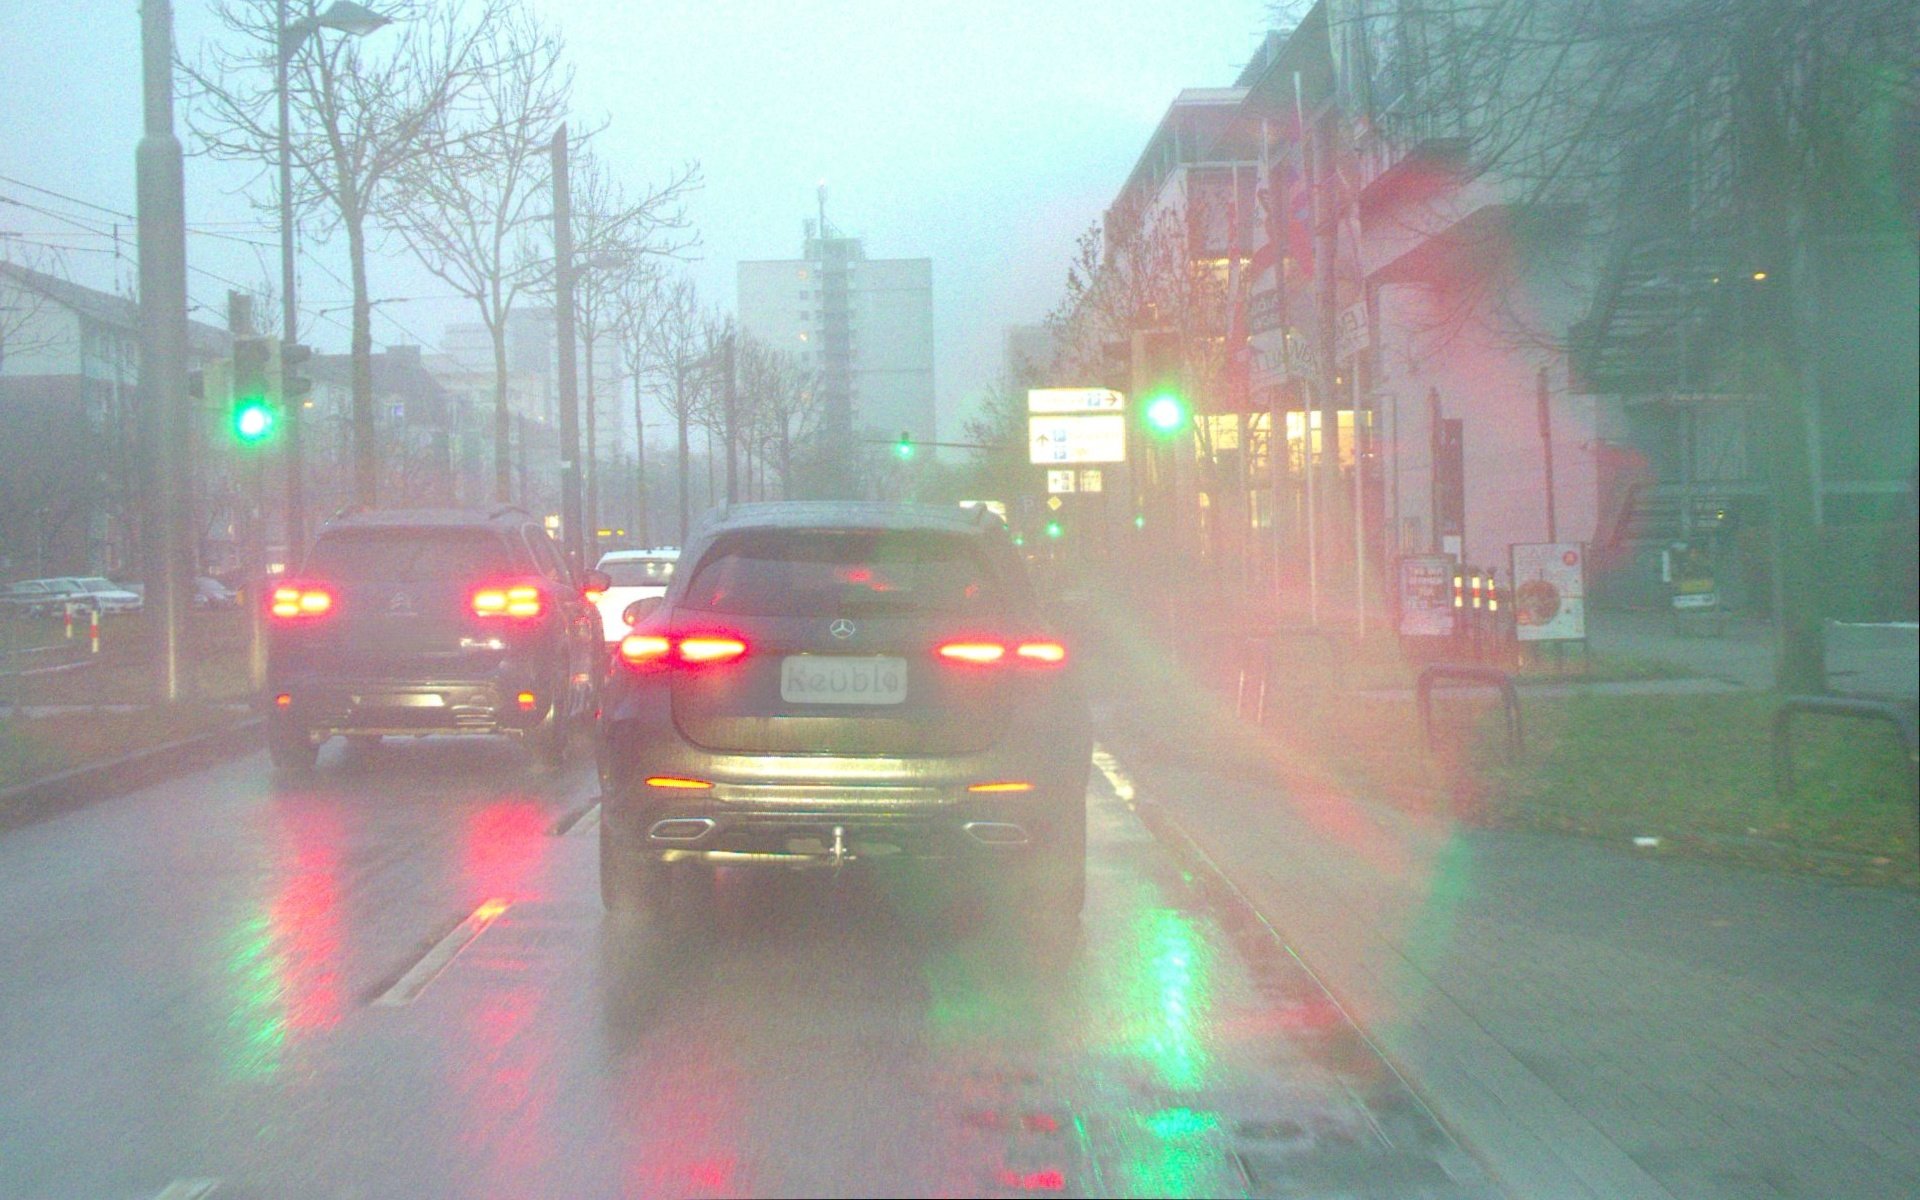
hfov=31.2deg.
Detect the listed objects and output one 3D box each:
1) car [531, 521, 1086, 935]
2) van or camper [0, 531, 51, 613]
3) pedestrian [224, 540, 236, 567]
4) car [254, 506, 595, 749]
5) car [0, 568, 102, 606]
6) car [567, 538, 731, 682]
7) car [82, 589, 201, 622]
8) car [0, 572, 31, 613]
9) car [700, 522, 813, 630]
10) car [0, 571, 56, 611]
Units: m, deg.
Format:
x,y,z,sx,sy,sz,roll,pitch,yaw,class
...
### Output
x,y,z,sx,sy,sz,roll,pitch,yaw,class
-0.586,0.447,14.339,1.993,1.478,3.700,1,1,-1,car
-29.755,-0.876,100.536,6.872,2.352,1.996,1,1,33,van or camper
-32.556,-2.070,153.377,0.345,1.180,0.434,0,1,-41,pedestrian
-3.459,0.137,22.848,1.817,1.445,4.001,1,1,-3,car
-29.694,-0.433,111.503,3.413,1.143,1.688,1,1,31,car
-3.663,0.088,40.979,1.689,1.630,3.474,1,1,-1,car
-29.709,0.187,124.750,4.183,1.112,1.678,1,1,30,car
-30.324,-0.252,105.042,3.535,1.208,1.745,1,1,31,car
-3.413,-0.399,58.220,1.662,1.753,3.568,1,0,0,car
-30.418,-0.293,108.127,3.535,1.196,1.879,1,1,31,car
